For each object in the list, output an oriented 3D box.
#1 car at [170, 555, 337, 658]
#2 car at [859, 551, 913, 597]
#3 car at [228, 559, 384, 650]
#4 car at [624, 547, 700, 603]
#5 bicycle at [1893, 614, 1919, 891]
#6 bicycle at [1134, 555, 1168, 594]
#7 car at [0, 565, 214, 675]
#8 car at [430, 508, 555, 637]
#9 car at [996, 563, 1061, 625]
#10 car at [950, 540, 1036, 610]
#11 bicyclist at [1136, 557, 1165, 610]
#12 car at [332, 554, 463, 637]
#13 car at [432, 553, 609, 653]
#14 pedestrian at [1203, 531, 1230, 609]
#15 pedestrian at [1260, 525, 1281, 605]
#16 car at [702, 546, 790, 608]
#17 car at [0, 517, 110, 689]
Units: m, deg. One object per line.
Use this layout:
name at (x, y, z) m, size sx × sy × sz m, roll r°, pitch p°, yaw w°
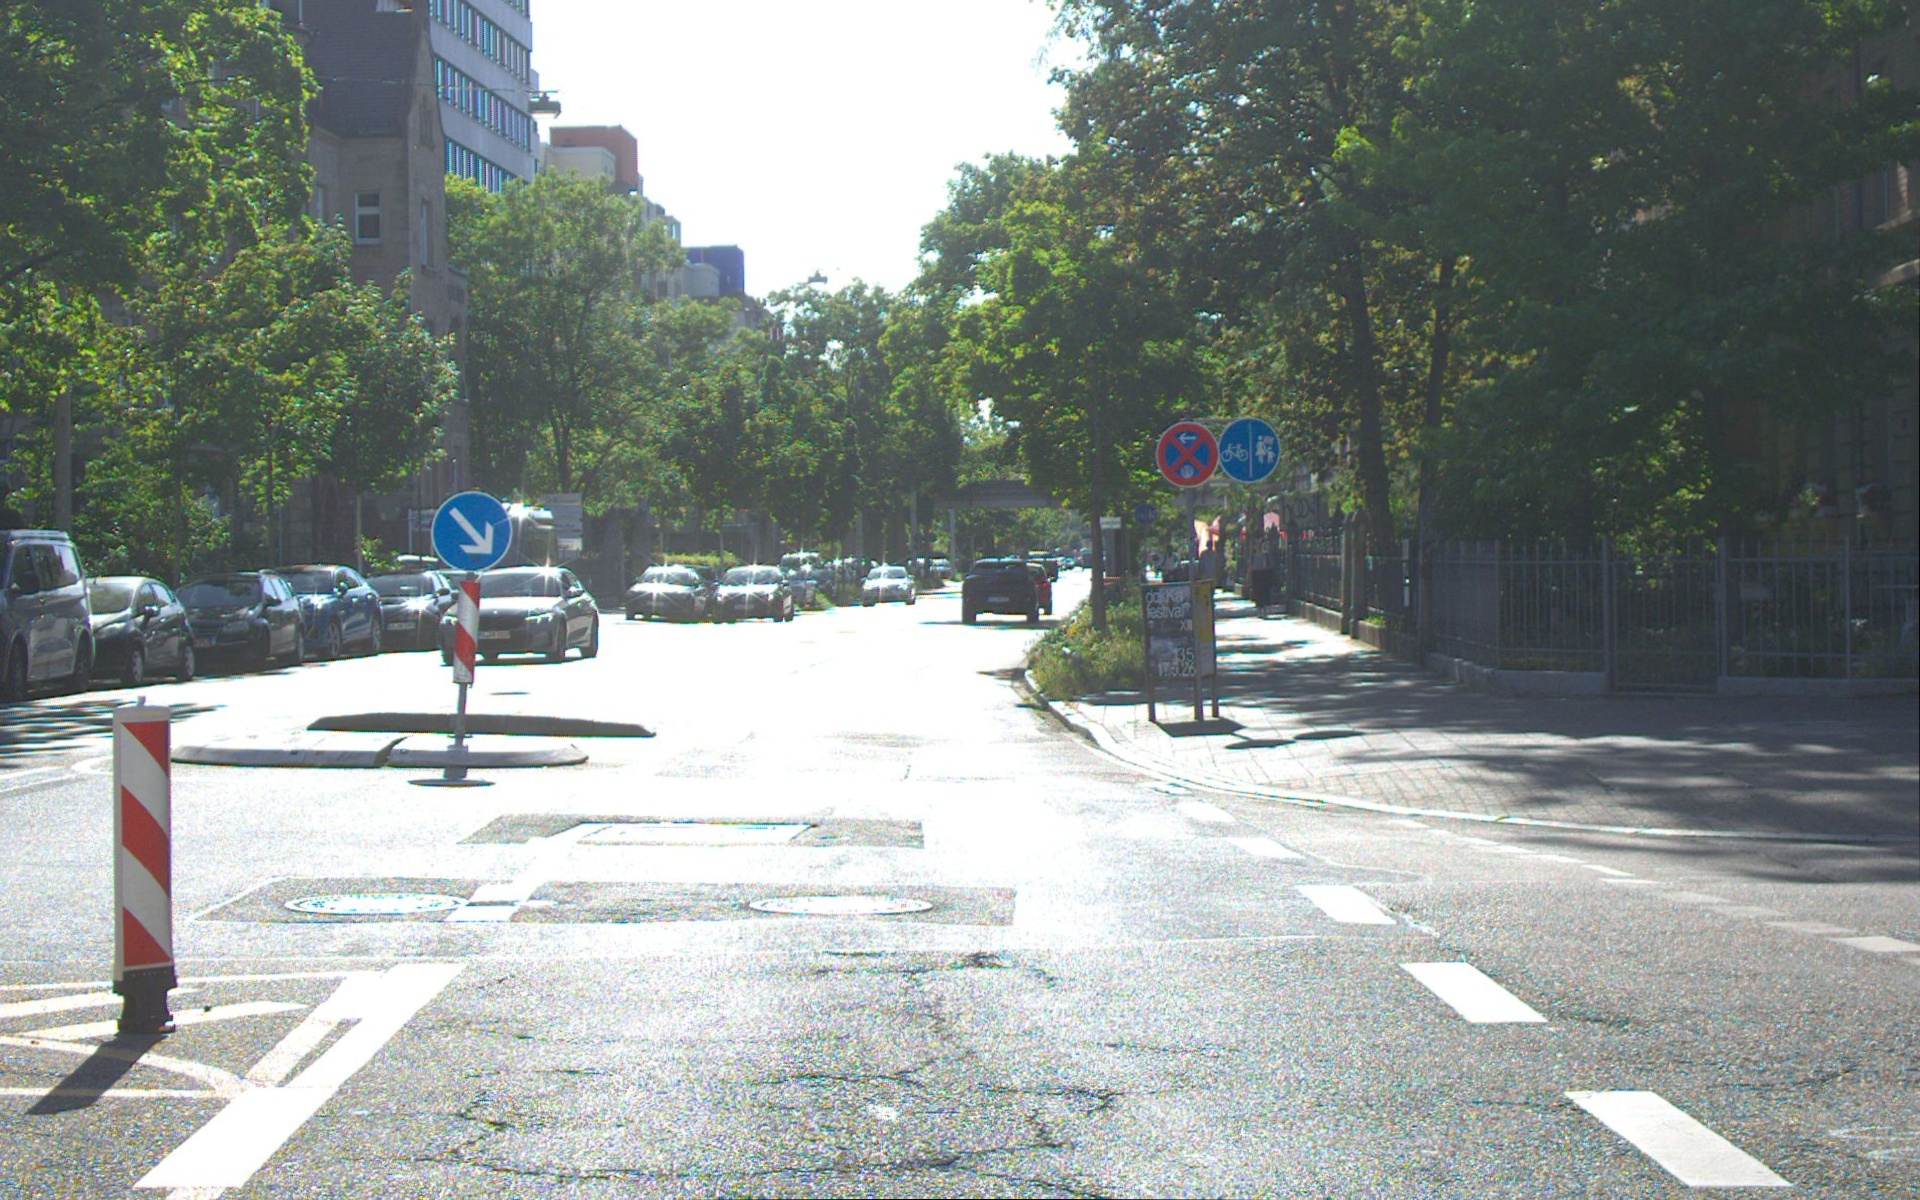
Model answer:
car at (-10.517, 0.122, 51.357) m, size 1.523 × 1.428 × 3.336 m, roll 0°, pitch -2°, yaw 5°
car at (-2.693, -0.944, 125.370) m, size 1.935 × 1.514 × 4.030 m, roll 1°, pitch -2°, yaw -1°
car at (-10.757, 0.059, 56.750) m, size 1.524 × 1.427 × 3.553 m, roll 0°, pitch 1°, yaw 7°
car at (-8.182, -0.706, 94.575) m, size 1.802 × 1.499 × 3.808 m, roll 0°, pitch 1°, yaw -1°
bicycle at (4.603, 0.677, 14.493) m, size 0.741 × 1.215 × 1.960 m, roll -2°, pitch 1°, yaw -1°
bicycle at (4.855, -0.641, 87.501) m, size 0.675 × 0.935 × 2.281 m, roll 0°, pitch -1°, yaw -2°
car at (-11.349, 0.298, 45.990) m, size 1.713 × 1.348 × 3.999 m, roll 1°, pitch -2°, yaw 2°
car at (-9.958, -0.628, 73.598) m, size 1.826 × 2.642 × 5.162 m, roll 0°, pitch 1°, yaw 1°
car at (2.005, -0.188, 100.018) m, size 1.819 × 1.734 × 4.000 m, roll 0°, pitch 1°, yaw 2°
car at (0.763, -0.624, 82.774) m, size 1.894 × 1.513 × 4.001 m, roll 2°, pitch 2°, yaw -1°
bicyclist at (4.856, -0.427, 87.555) m, size 0.680 × 1.323 × 0.636 m, roll 1°, pitch -2°, yaw -2°
car at (-10.087, -0.101, 61.797) m, size 1.523 × 1.427 × 3.336 m, roll 0°, pitch 1°, yaw 5°
car at (-6.699, 0.039, 52.856) m, size 1.784 × 1.455 × 4.414 m, roll 0°, pitch 0°, yaw 5°
pedestrian at (6.603, -0.785, 88.654) m, size 0.614 × 2.007 × 0.681 m, roll 0°, pitch 1°, yaw -1°
pedestrian at (7.881, -0.876, 87.293) m, size 0.476 × 2.007 × 0.492 m, roll 1°, pitch -2°, yaw -1°
car at (-5.436, -0.607, 87.745) m, size 1.639 × 1.514 × 4.030 m, roll 0°, pitch 1°, yaw 5°
car at (-11.782, -0.001, 40.725) m, size 2.198 × 1.923 × 4.862 m, roll 0°, pitch 1°, yaw 0°
